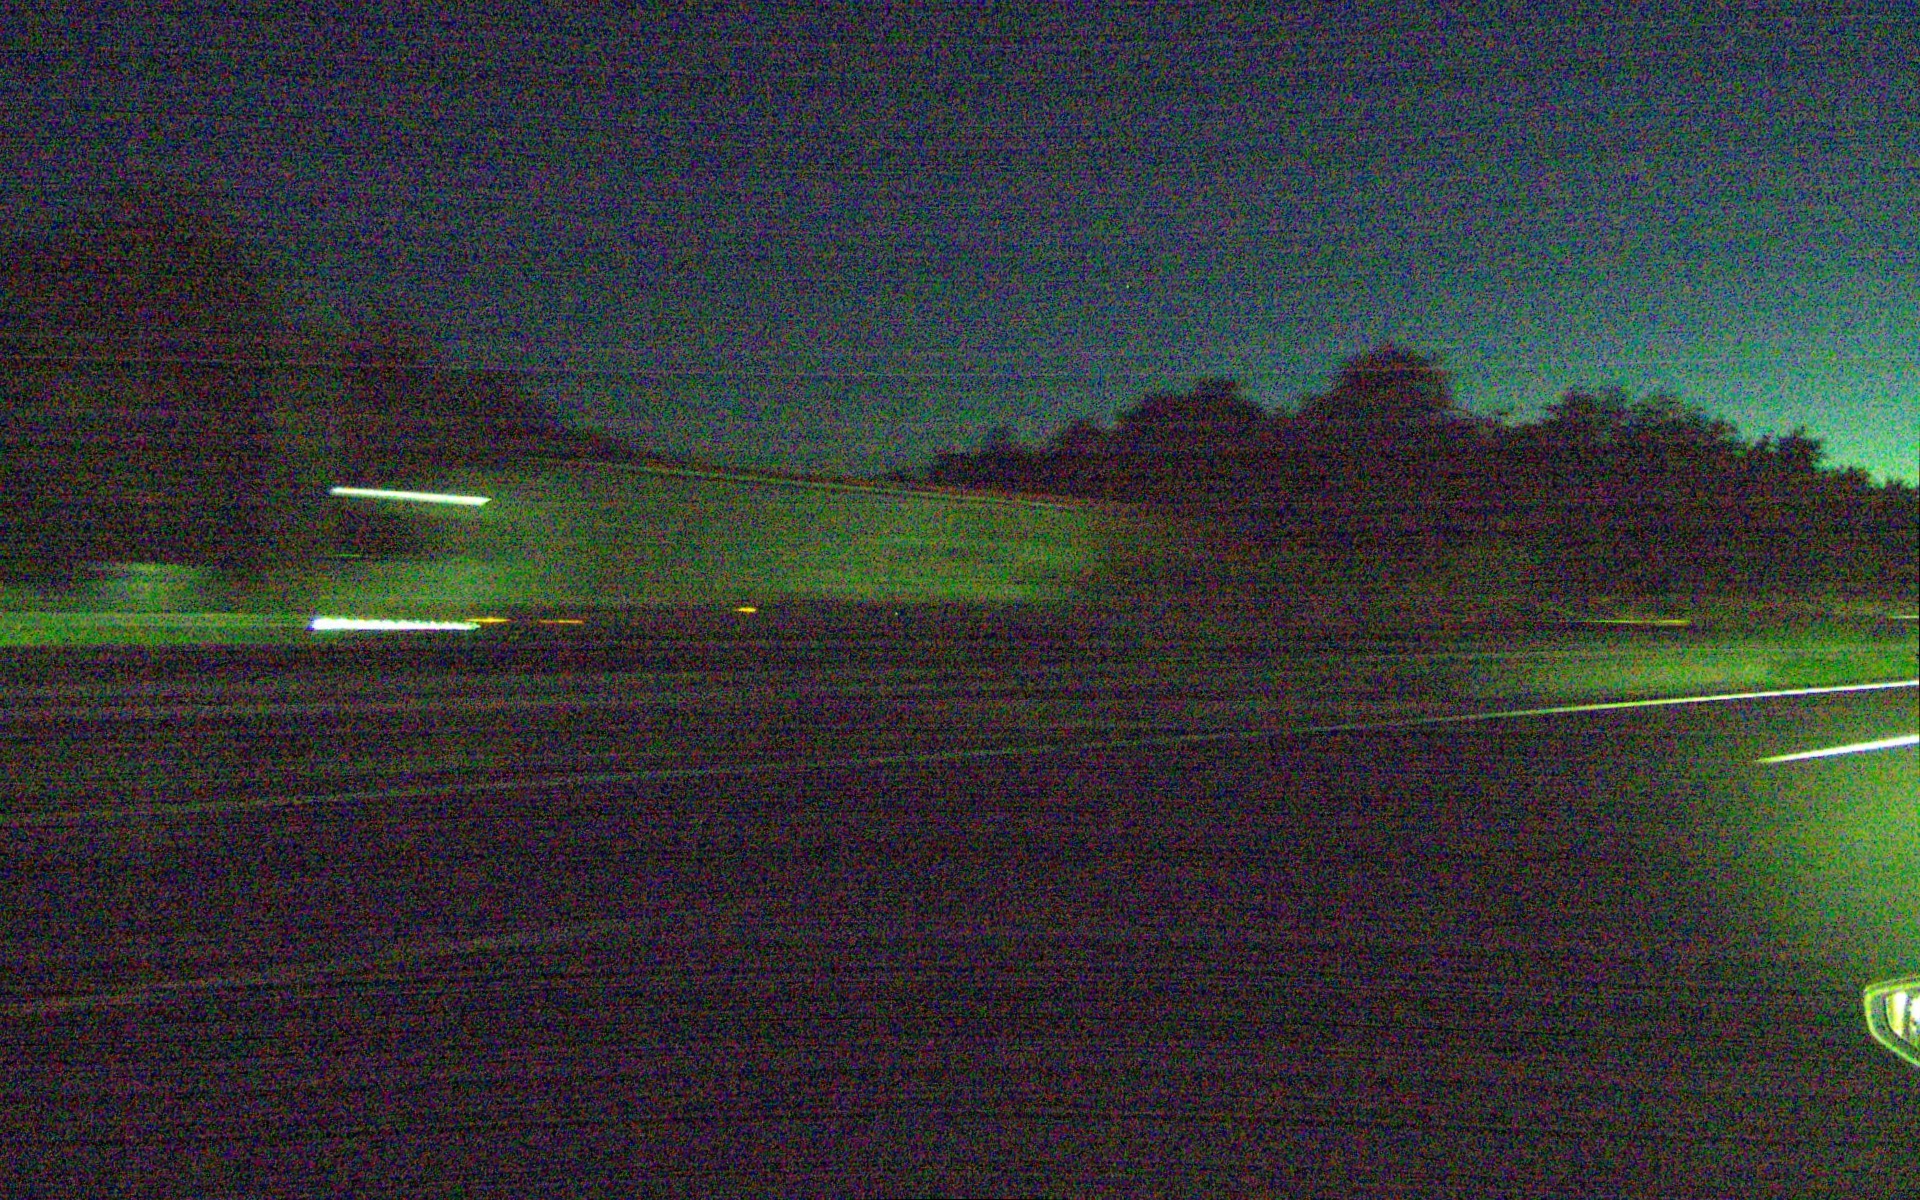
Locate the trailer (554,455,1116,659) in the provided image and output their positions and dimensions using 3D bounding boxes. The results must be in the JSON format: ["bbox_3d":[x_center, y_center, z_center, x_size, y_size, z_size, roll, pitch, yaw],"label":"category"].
[{"bbox_3d":[-2.594,-0.729,25.564,13.963,4.144,3.580,1,0,-31],"label":"trailer"}]

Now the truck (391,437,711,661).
[{"bbox_3d":[-8.850,-0.889,21.751,5.925,4.154,3.572,1,0,-31],"label":"truck"}]
